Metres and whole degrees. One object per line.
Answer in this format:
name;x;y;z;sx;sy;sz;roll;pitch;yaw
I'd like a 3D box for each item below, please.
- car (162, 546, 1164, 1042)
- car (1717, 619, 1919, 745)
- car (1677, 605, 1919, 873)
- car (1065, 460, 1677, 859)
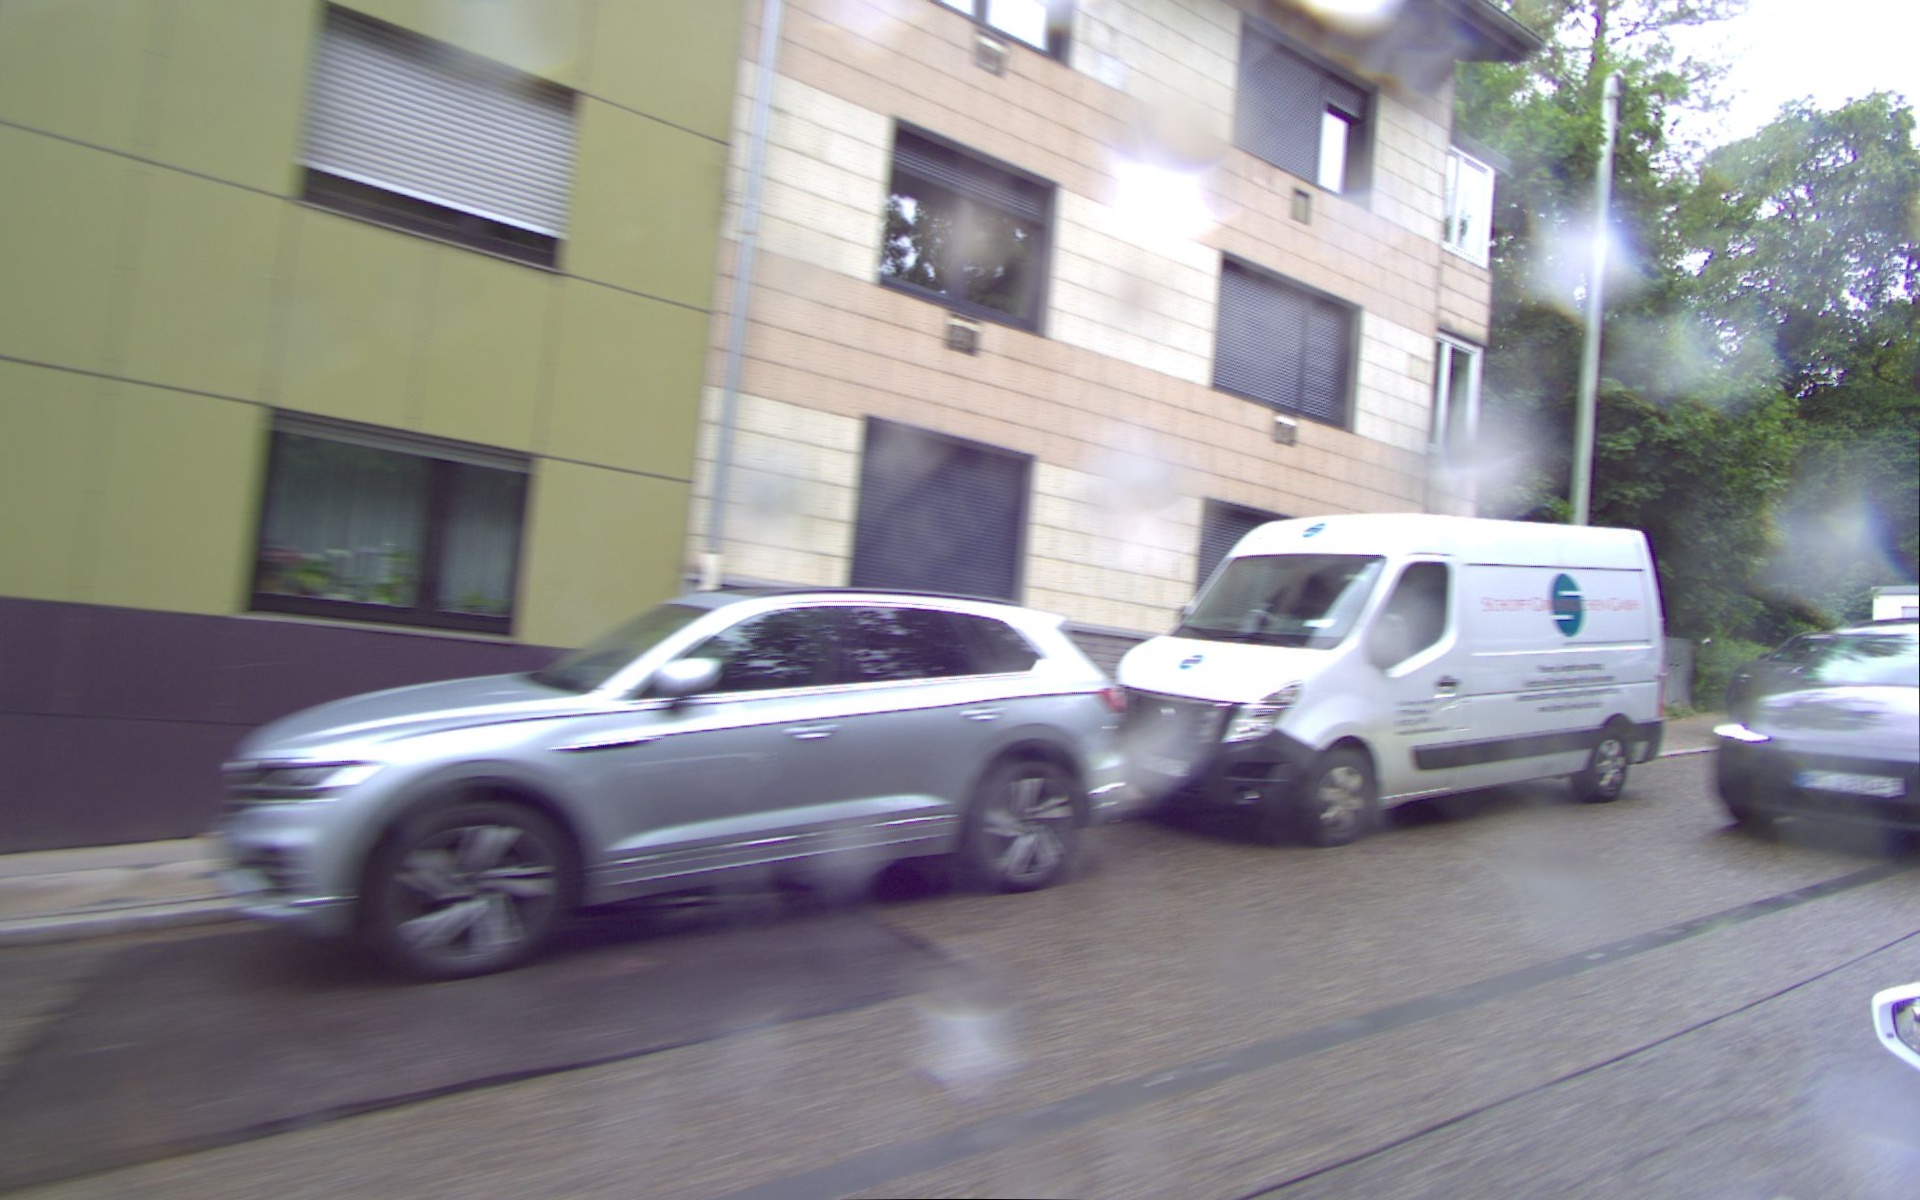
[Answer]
car;-1.307;0.790;5.733;4.831;1.762;1.956;1;-4;-32
car;13.124;1.153;14.789;4.136;1.625;1.637;1;-4;-30
car;7.616;0.905;7.631;4.448;1.646;1.927;1;-2;-31
car;3.719;0.487;8.795;5.380;2.584;2.107;1;-4;-31
